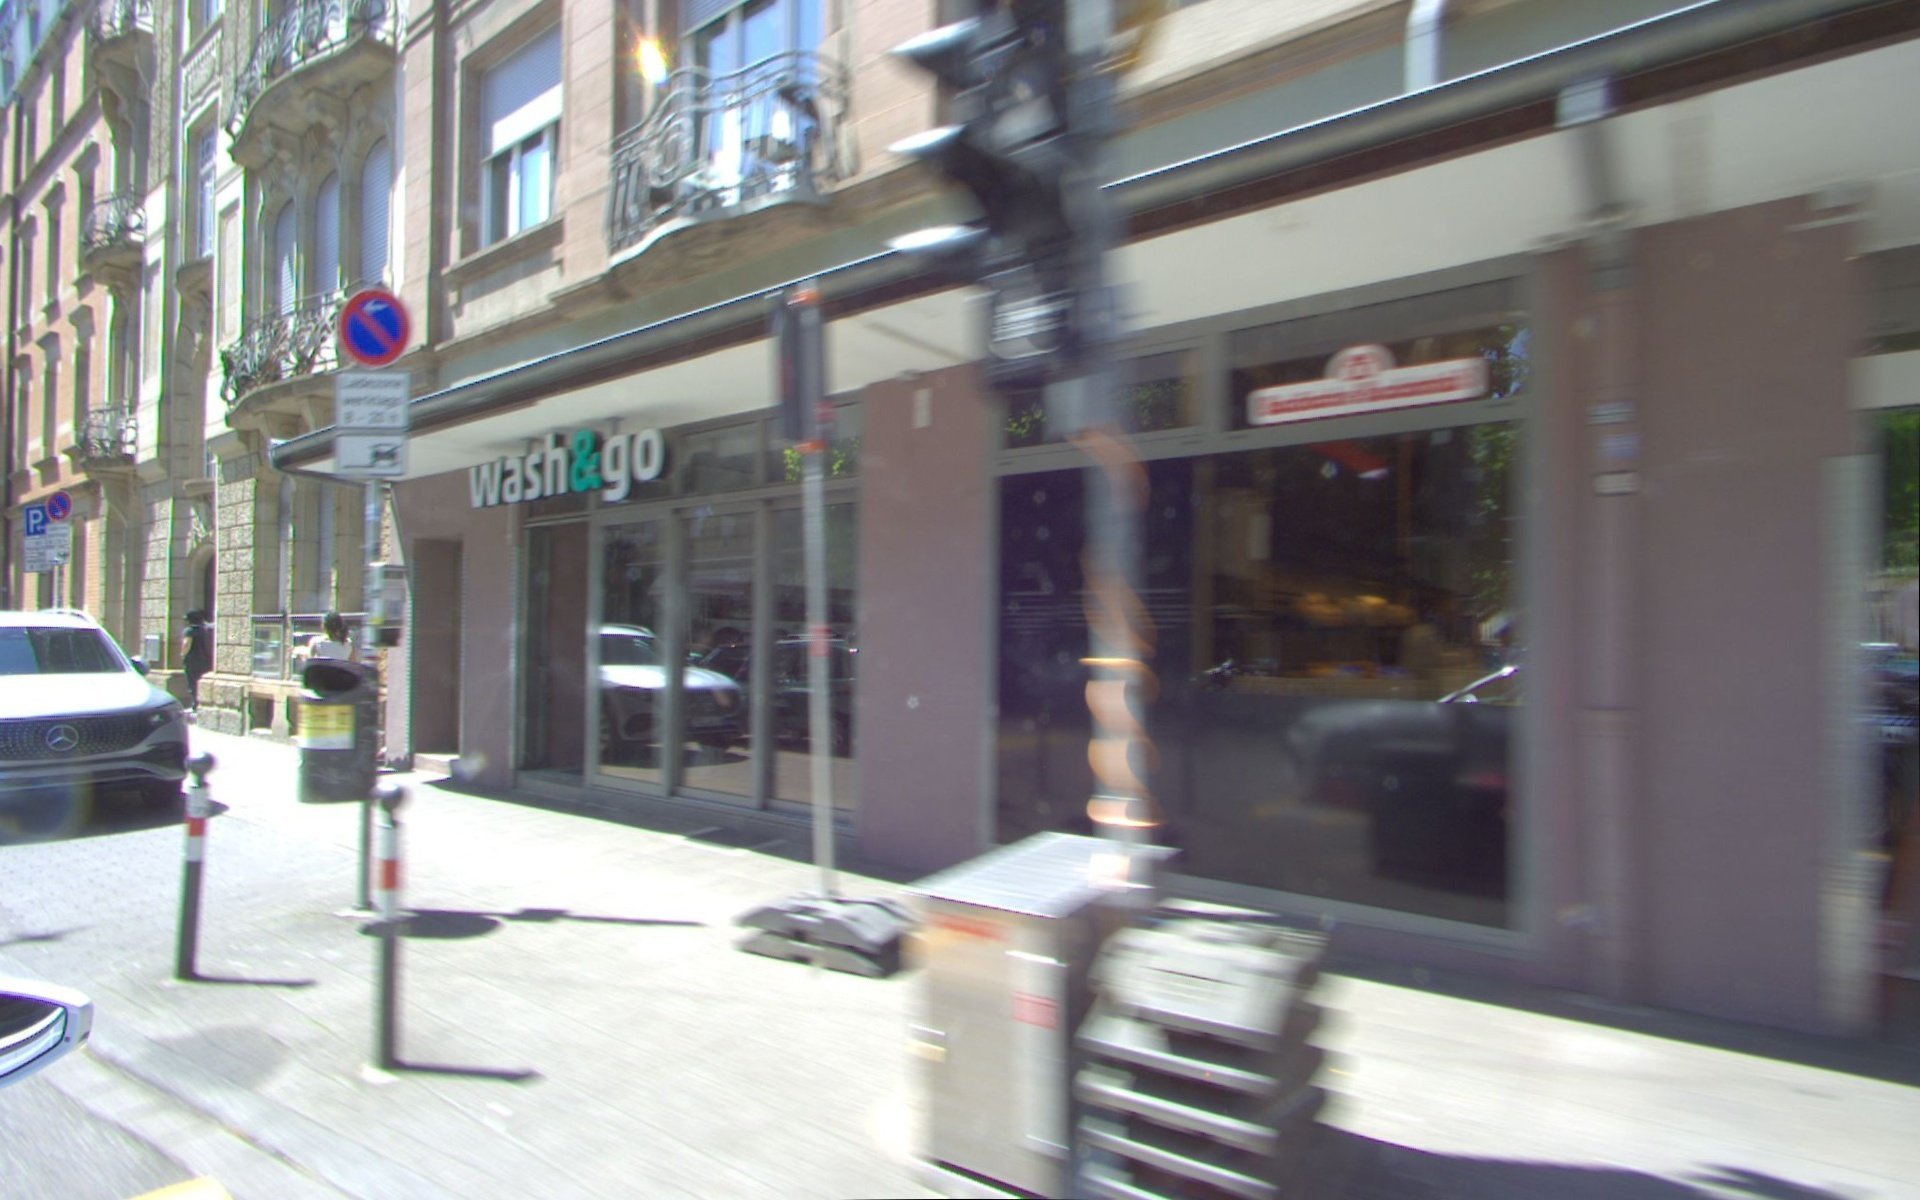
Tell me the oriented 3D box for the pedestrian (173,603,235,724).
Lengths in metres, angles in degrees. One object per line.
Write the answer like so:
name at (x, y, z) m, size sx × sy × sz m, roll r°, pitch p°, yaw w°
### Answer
pedestrian at (-11.417, 0.934, 15.124) m, size 0.738 × 1.773 × 0.511 m, roll 1°, pitch 1°, yaw 31°

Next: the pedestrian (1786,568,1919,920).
pedestrian at (4.566, 0.691, 4.994) m, size 0.543 × 1.649 × 0.450 m, roll 1°, pitch -2°, yaw -12°

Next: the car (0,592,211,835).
car at (-8.380, 0.852, 8.812) m, size 4.449 × 1.735 × 1.864 m, roll -1°, pitch -1°, yaw 39°

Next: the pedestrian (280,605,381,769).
pedestrian at (-6.624, 0.887, 10.533) m, size 0.794 × 1.644 × 0.639 m, roll 0°, pitch -2°, yaw 38°
